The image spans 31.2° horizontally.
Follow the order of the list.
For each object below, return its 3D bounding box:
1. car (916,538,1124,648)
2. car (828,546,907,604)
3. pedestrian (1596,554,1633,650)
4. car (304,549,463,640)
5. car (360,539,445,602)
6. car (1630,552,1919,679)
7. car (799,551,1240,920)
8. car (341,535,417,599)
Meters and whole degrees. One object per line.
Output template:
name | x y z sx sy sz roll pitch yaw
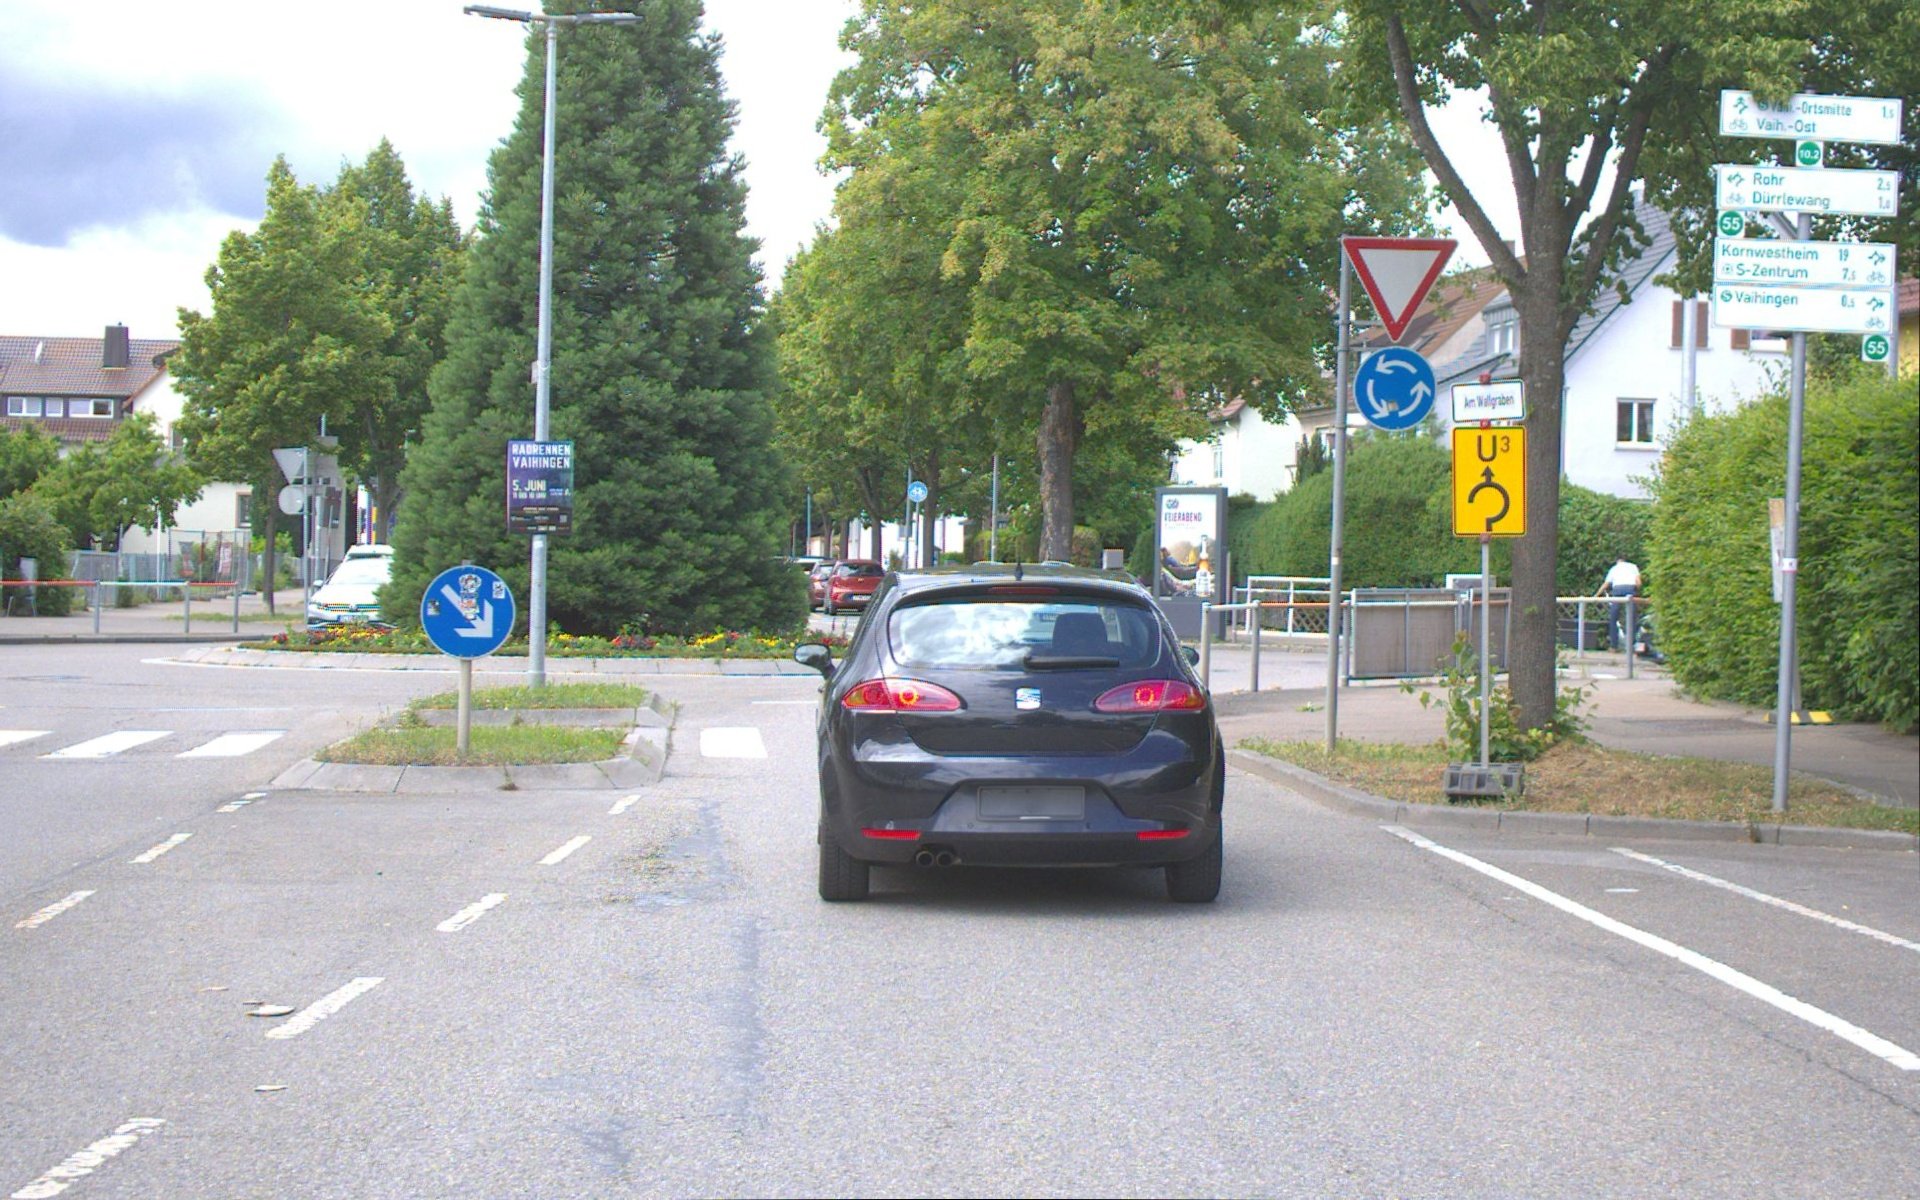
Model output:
car | 0.880 -0.133 53.044 1.993 1.607 4.001 1 1 -18
car | -2.483 -0.675 91.533 1.474 1.484 3.383 1 1 -12
pedestrian | 10.465 0.032 54.983 0.491 1.528 0.484 1 1 20
car | -10.173 -0.121 60.939 1.869 1.555 4.259 0 1 3
car | -14.460 -0.787 89.323 1.797 1.596 4.001 0 1 -3
car | 11.843 0.221 48.475 4.397 1.655 1.650 2 1 -2
car | 0.150 0.526 15.900 1.732 1.481 4.001 0 1 -3
car | -18.165 -1.046 107.572 2.029 1.964 4.001 0 1 -5
